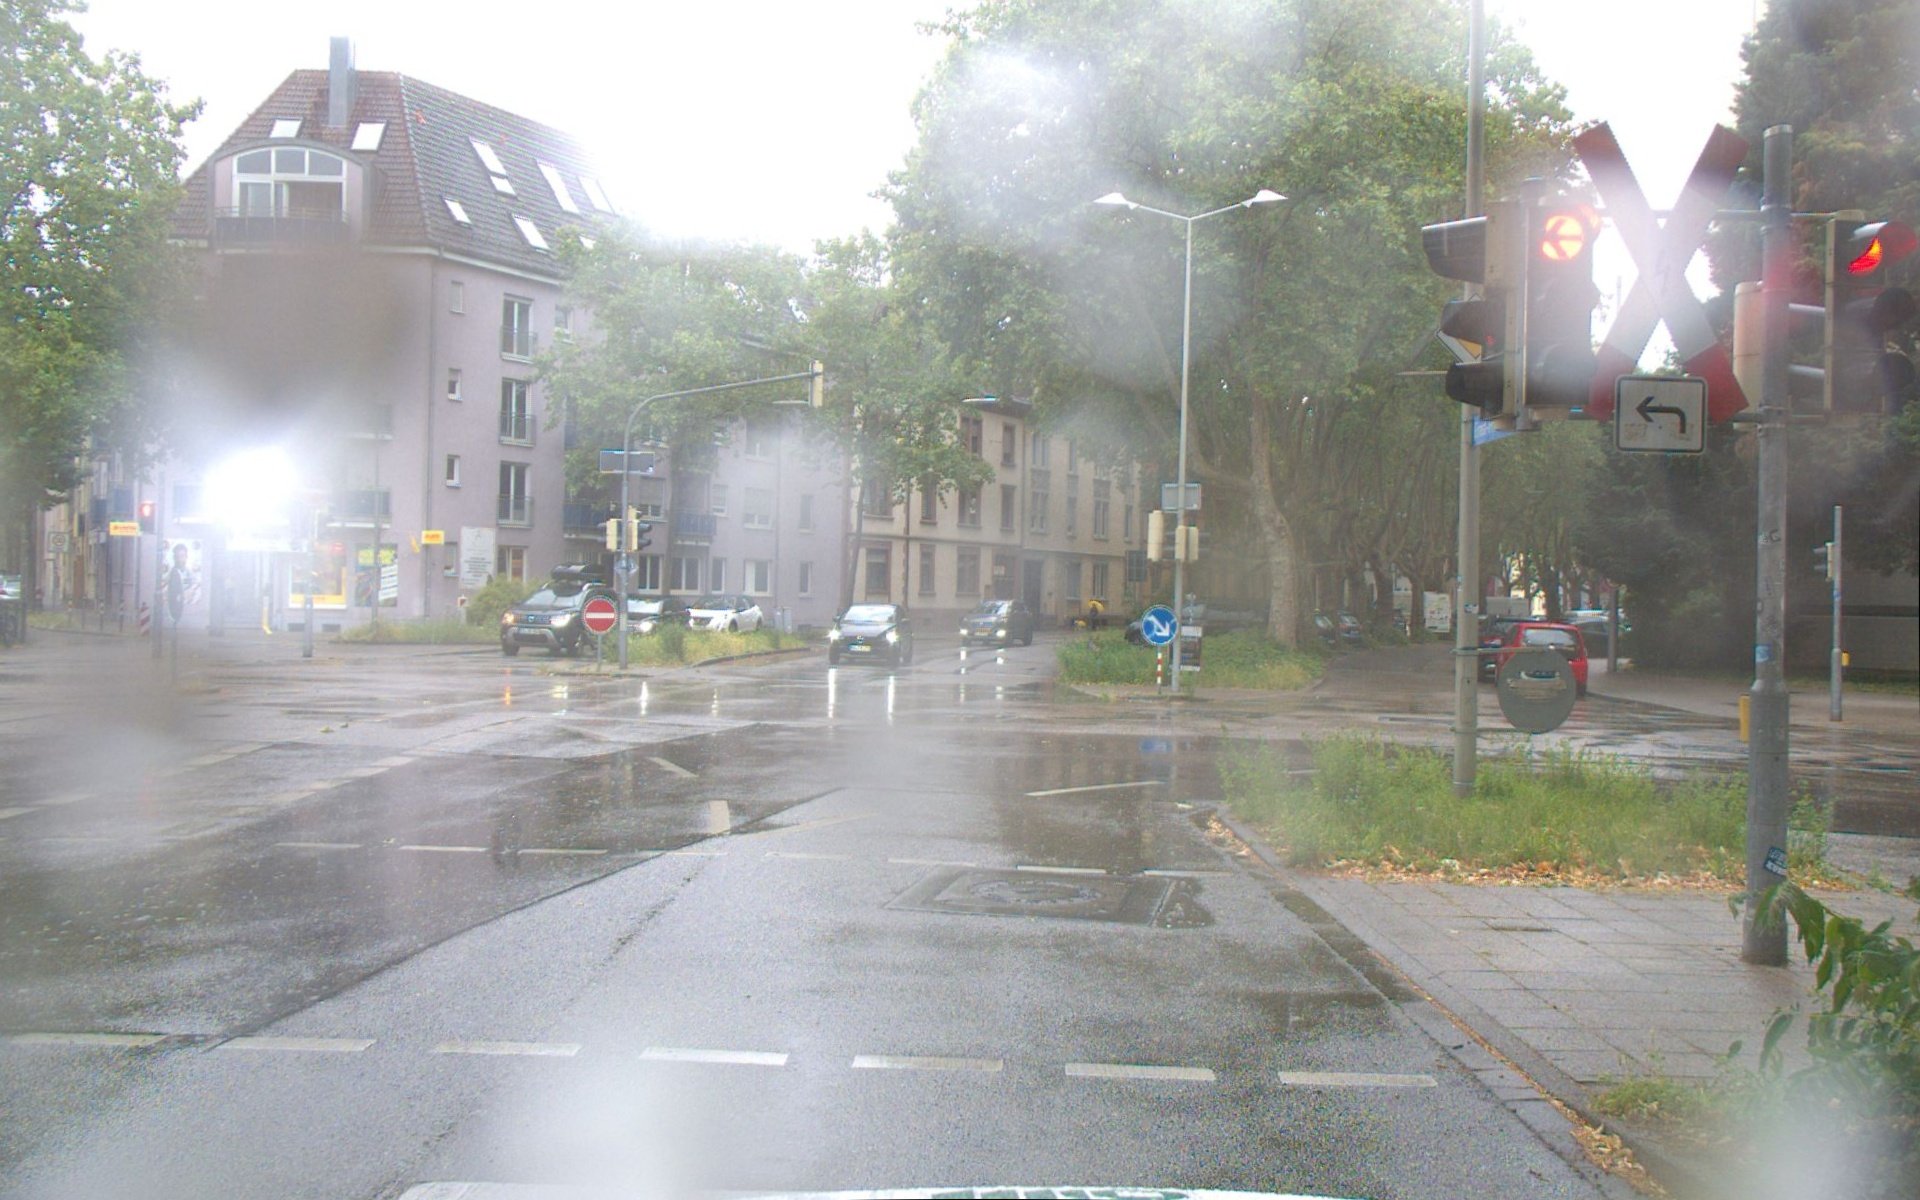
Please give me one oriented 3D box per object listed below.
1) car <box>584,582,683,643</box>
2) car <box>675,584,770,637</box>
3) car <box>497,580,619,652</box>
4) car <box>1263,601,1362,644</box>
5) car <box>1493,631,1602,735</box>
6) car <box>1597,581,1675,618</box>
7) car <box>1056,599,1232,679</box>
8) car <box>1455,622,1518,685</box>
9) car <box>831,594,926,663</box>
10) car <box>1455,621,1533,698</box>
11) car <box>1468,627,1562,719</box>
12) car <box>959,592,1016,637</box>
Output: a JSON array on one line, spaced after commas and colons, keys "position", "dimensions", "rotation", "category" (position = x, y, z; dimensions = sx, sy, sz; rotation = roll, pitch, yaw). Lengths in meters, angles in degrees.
[{"position": [-8.776, 0.308, 44.758], "dimensions": [1.688, 1.579, 3.562], "rotation": [0, 0, 5], "category": "car"}, {"position": [-7.386, 0.289, 51.795], "dimensions": [1.641, 1.579, 4.202], "rotation": [0, 0, 11], "category": "car"}, {"position": [-9.321, 0.350, 38.616], "dimensions": [1.688, 1.579, 3.562], "rotation": [0, 0, 5], "category": "car"}, {"position": [14.023, 0.887, 65.764], "dimensions": [3.537, 1.646, 1.679], "rotation": [0, 0, 28], "category": "car"}, {"position": [12.956, 1.775, 36.655], "dimensions": [1.951, 2.049, 4.003], "rotation": [0, 0, 15], "category": "car"}, {"position": [37.789, -0.035, 92.523], "dimensions": [3.903, 2.049, 1.708], "rotation": [0, 0, 19], "category": "car"}, {"position": [3.678, 0.768, 33.046], "dimensions": [3.405, 1.550, 1.521], "rotation": [0, 0, 8], "category": "car"}, {"position": [18.522, 1.835, 58.320], "dimensions": [1.951, 2.049, 4.003], "rotation": [0, 0, 15], "category": "car"}, {"position": [-1.944, 0.666, 40.418], "dimensions": [1.568, 1.579, 3.563], "rotation": [0, 0, 10], "category": "car"}, {"position": [15.374, 1.678, 47.761], "dimensions": [1.951, 2.049, 4.003], "rotation": [0, 0, 15], "category": "car"}, {"position": [13.618, 1.744, 40.765], "dimensions": [1.951, 2.049, 4.003], "rotation": [0, 0, 15], "category": "car"}, {"position": [1.032, 0.511, 60.344], "dimensions": [1.568, 1.579, 3.563], "rotation": [0, 0, 9], "category": "car"}]
